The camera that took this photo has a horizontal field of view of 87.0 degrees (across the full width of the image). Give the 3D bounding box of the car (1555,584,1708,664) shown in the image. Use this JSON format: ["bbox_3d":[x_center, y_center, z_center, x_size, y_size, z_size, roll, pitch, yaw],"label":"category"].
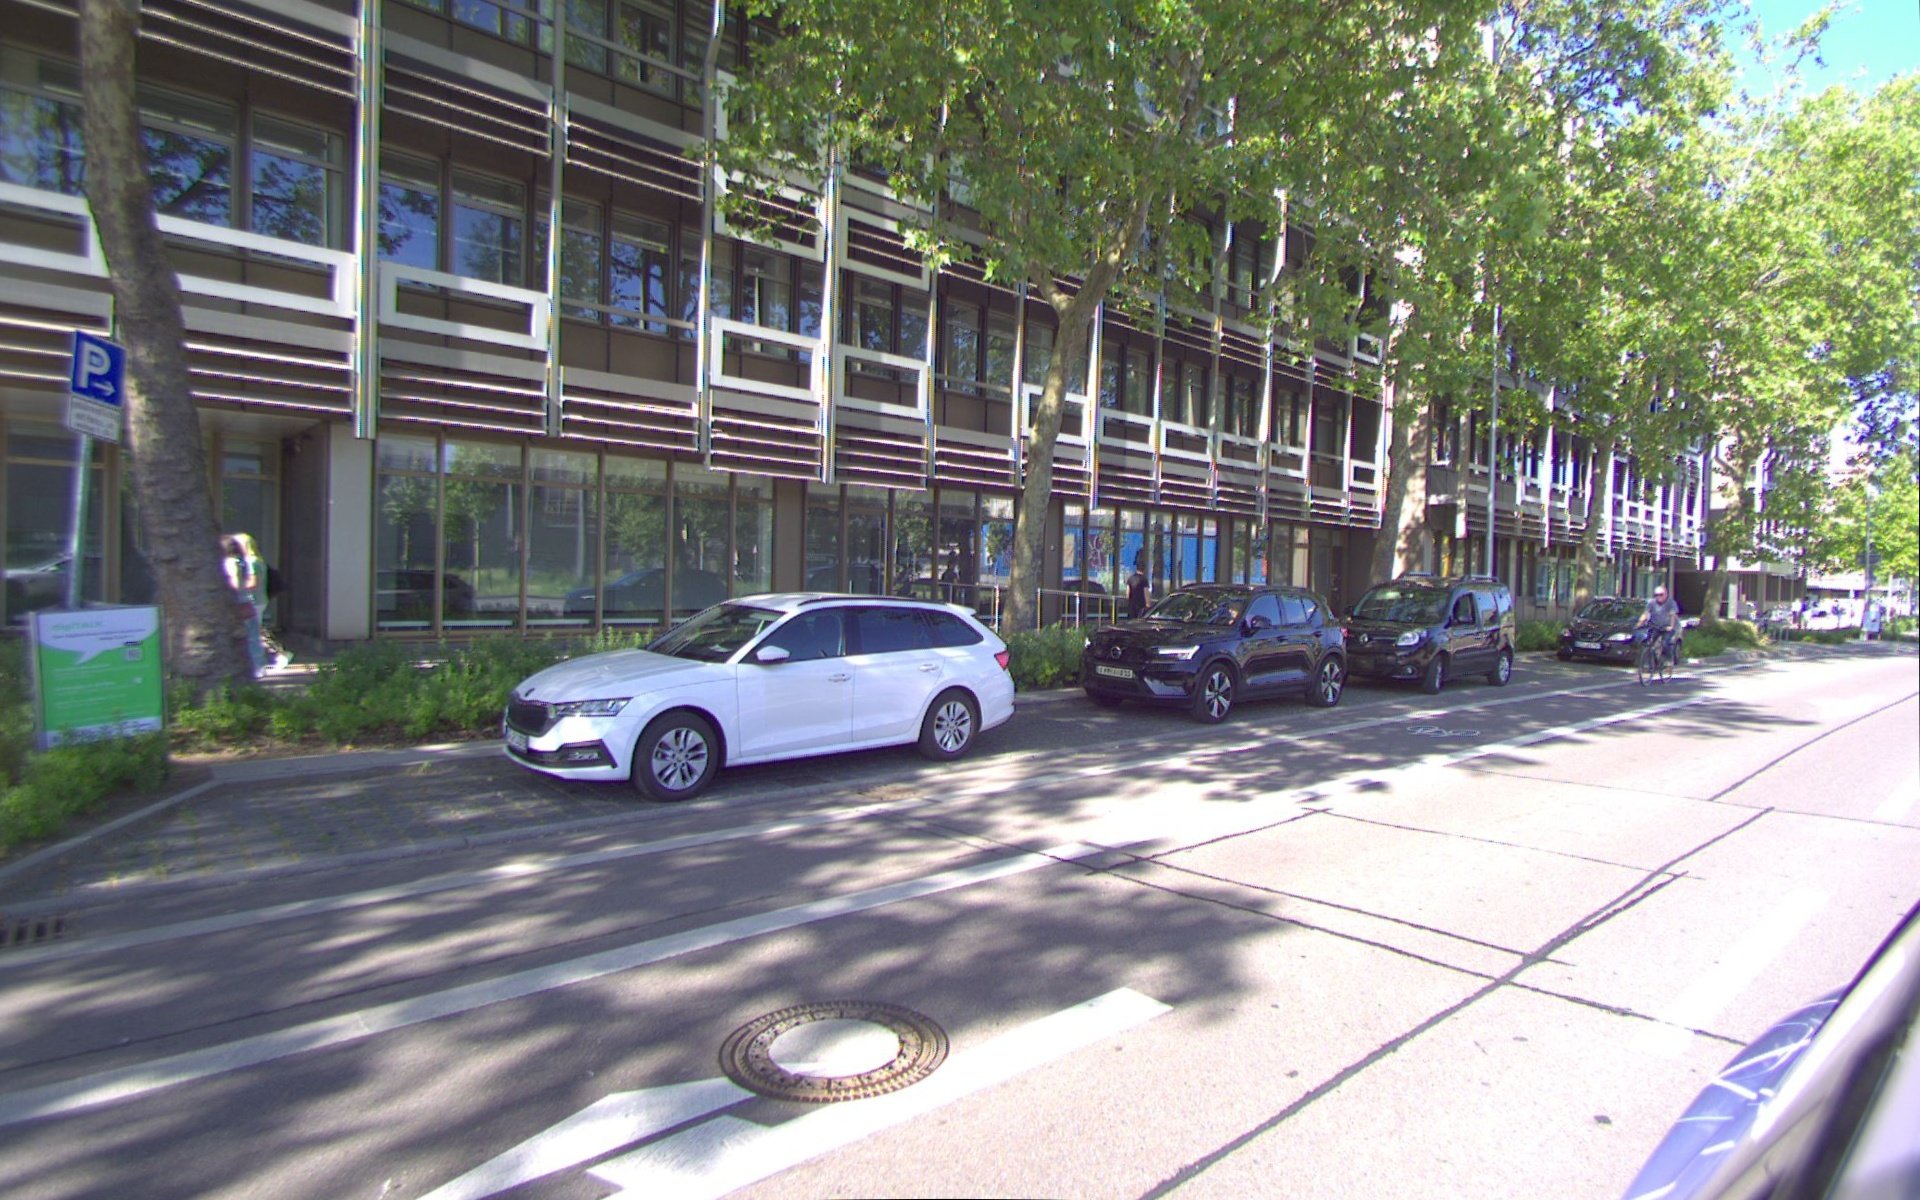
[{"bbox_3d":[16.148,0.530,24.248,4.552,1.663,1.709,1,3,-39],"label":"car"}]

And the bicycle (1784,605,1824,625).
[{"bbox_3d":[53.151,0.963,63.758,0.419,1.111,1.863,1,3,-39],"label":"bicycle"}]

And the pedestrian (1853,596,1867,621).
[{"bbox_3d":[54.089,0.511,60.824,0.723,1.493,0.511,1,0,-42],"label":"pedestrian"}]

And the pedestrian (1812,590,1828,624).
[{"bbox_3d":[43.654,0.363,51.379,0.760,1.722,0.511,1,0,-42],"label":"pedestrian"}]

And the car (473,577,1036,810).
[{"bbox_3d":[-1.550,0.612,8.770,4.519,1.511,1.707,1,1,-41],"label":"car"}]

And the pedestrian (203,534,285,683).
[{"bbox_3d":[-7.963,0.085,11.256,0.505,1.604,0.626,1,0,41],"label":"pedestrian"}]

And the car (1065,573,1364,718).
[{"bbox_3d":[3.397,0.488,13.123,4.119,1.583,1.707,0,1,-41],"label":"car"}]

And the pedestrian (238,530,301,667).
[{"bbox_3d":[-8.452,-0.023,12.391,0.563,1.623,0.554,1,0,-41],"label":"pedestrian"}]

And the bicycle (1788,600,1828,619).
[{"bbox_3d":[53.839,0.605,64.286,0.419,1.023,1.863,1,3,-39],"label":"bicycle"}]

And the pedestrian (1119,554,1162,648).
[{"bbox_3d":[3.811,0.016,21.400,0.547,1.941,0.678,0,0,-40],"label":"pedestrian"}]

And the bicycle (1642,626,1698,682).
[{"bbox_3d":[12.925,0.957,18.396,0.497,0.917,2.161,0,-1,44],"label":"bicycle"}]

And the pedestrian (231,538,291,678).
[{"bbox_3d":[-8.197,0.090,11.875,0.314,1.604,0.494,1,0,40],"label":"pedestrian"}]

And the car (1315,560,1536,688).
[{"bbox_3d":[7.782,0.338,16.742,4.118,1.811,1.708,1,3,-41],"label":"car"}]

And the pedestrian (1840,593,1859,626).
[{"bbox_3d":[48.573,0.521,55.257,0.789,1.749,0.648,1,0,-42],"label":"pedestrian"}]

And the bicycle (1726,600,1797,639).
[{"bbox_3d":[29.149,0.700,36.832,0.569,1.252,1.939,1,3,-43],"label":"bicycle"}]

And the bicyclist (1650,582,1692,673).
[{"bbox_3d":[12.962,0.492,18.440,0.513,1.621,0.528,2,1,44],"label":"bicyclist"}]
